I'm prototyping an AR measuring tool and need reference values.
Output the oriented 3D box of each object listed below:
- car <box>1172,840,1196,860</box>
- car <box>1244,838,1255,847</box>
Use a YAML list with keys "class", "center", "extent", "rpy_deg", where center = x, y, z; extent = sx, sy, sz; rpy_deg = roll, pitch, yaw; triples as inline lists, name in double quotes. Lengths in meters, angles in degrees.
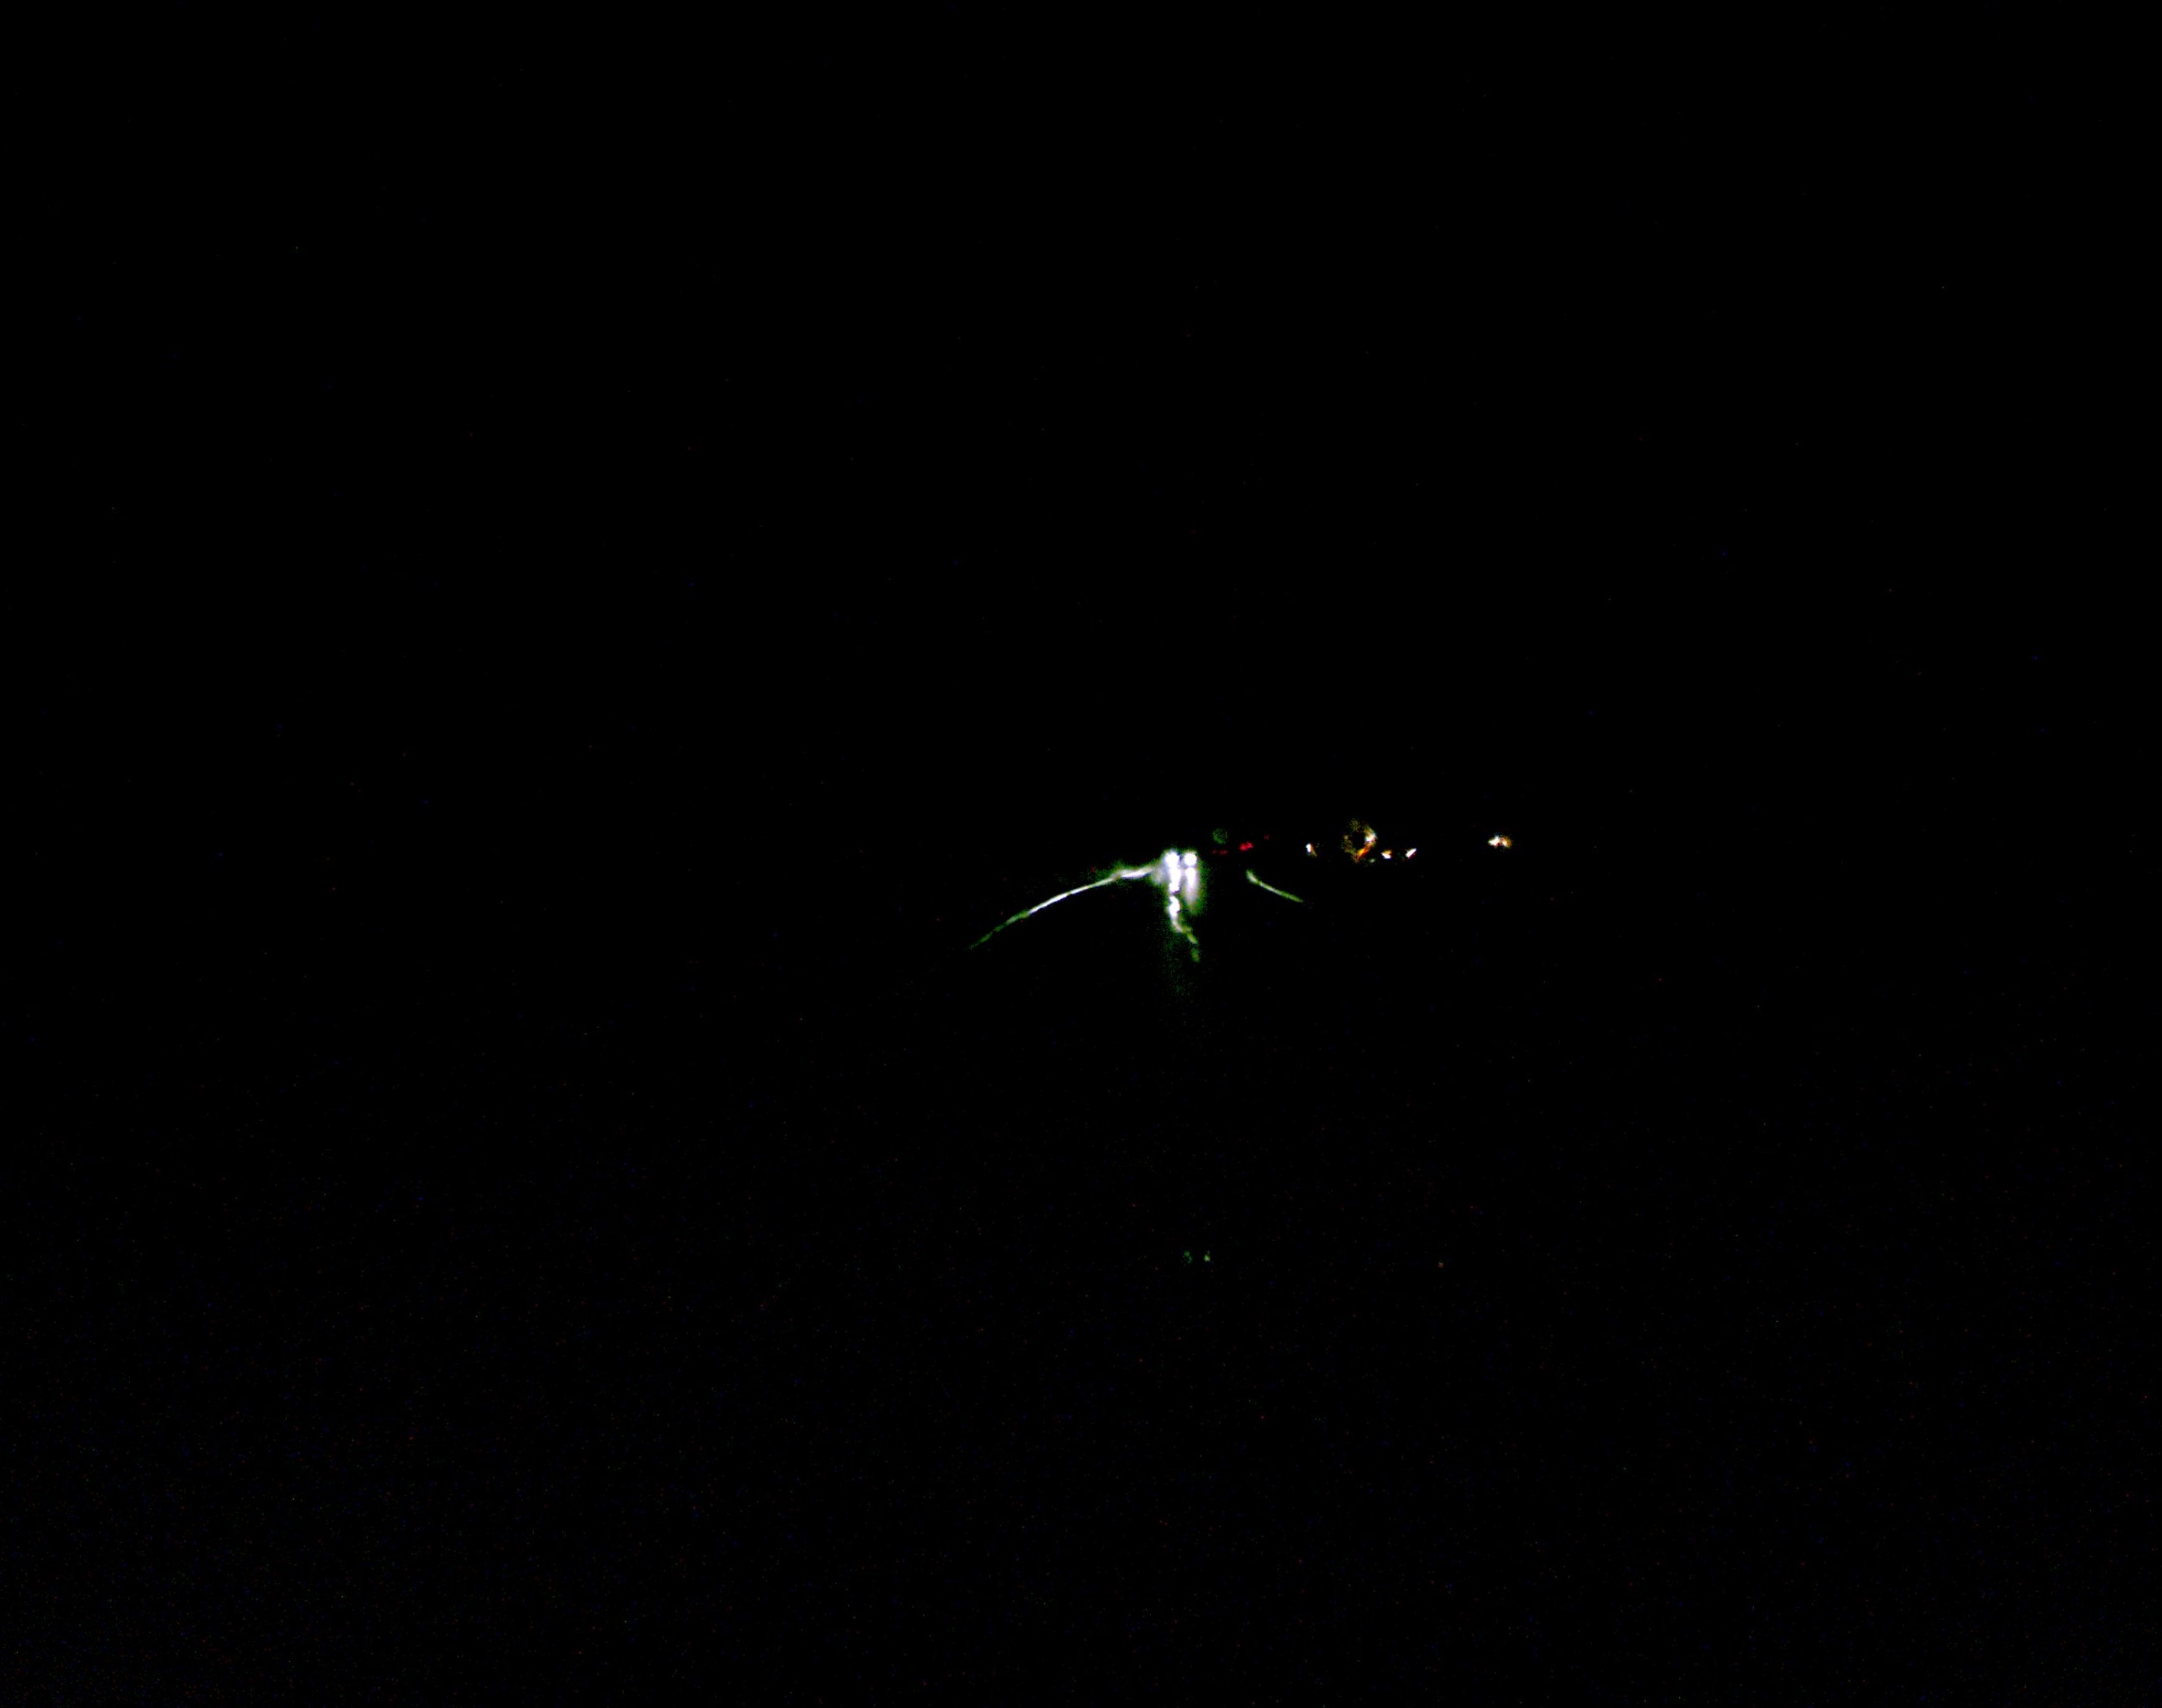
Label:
- class: "car"
  center: [9.142, -0.402, 67.237]
  extent: [1.958, 1.712, 4.002]
  rpy_deg: [-1, 1, 9]
- class: "car"
  center: [30.972, -2.075, 139.406]
  extent: [1.737, 1.534, 4.003]
  rpy_deg: [-2, 1, 14]
